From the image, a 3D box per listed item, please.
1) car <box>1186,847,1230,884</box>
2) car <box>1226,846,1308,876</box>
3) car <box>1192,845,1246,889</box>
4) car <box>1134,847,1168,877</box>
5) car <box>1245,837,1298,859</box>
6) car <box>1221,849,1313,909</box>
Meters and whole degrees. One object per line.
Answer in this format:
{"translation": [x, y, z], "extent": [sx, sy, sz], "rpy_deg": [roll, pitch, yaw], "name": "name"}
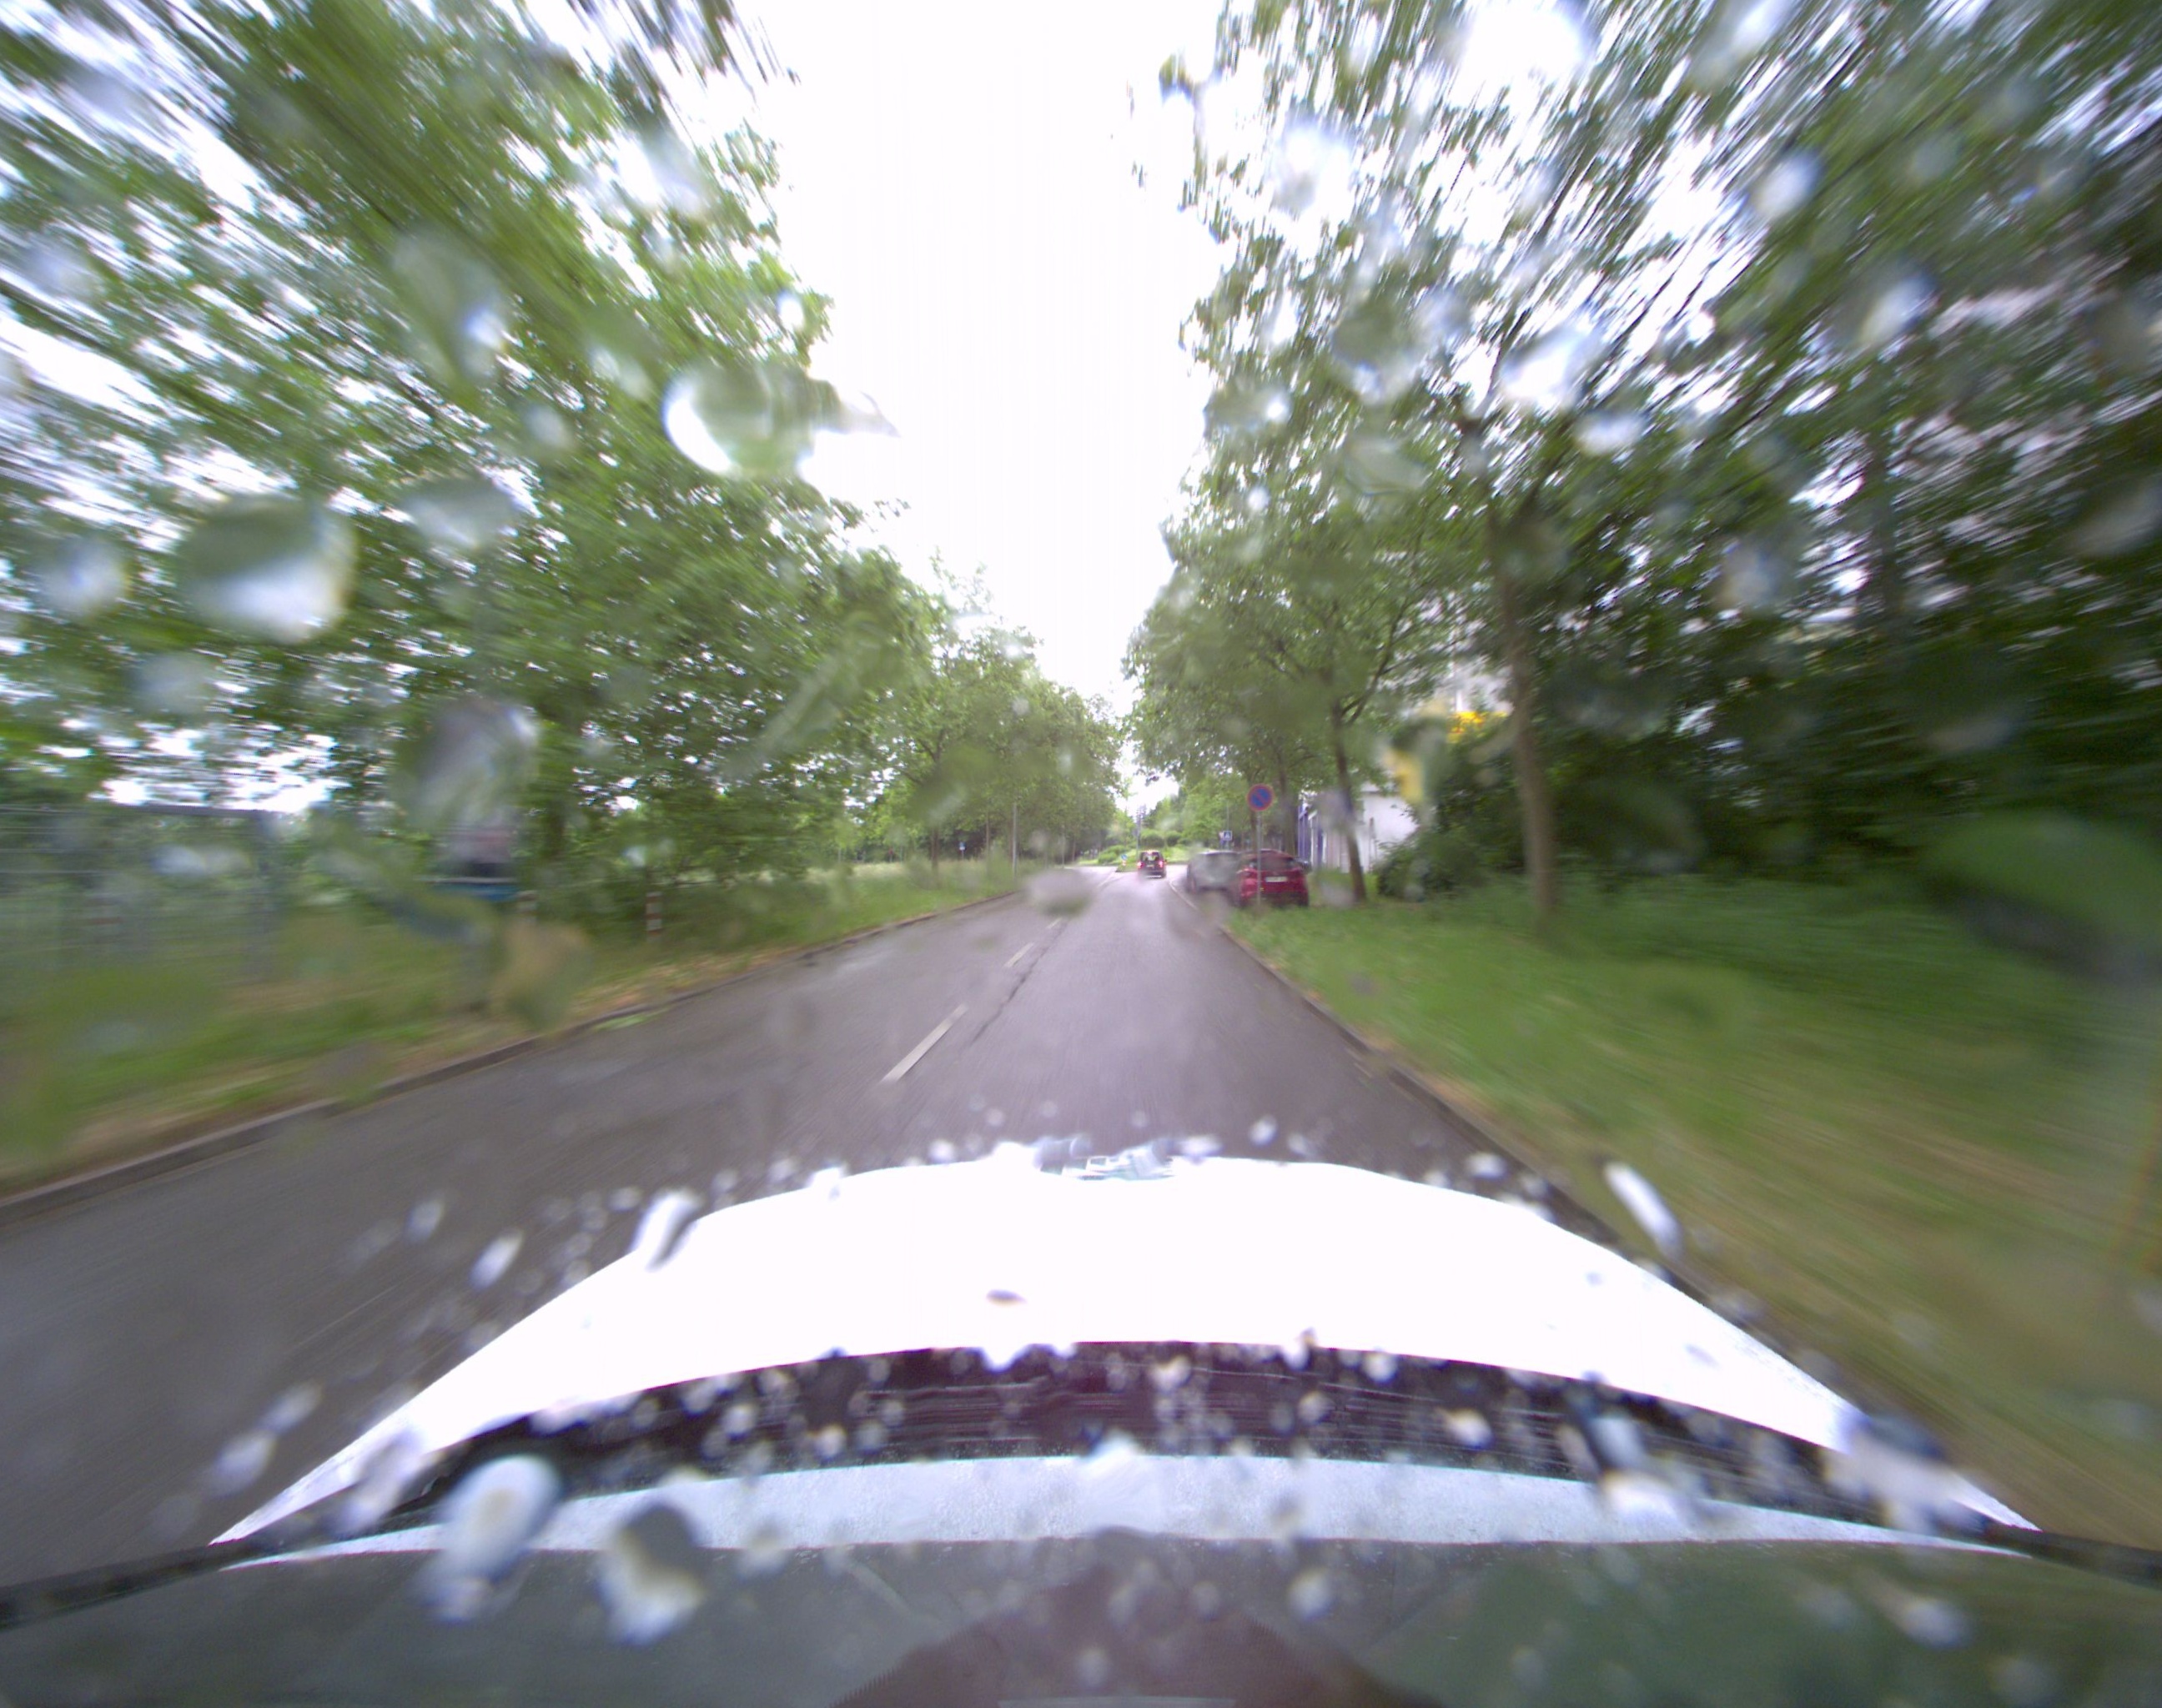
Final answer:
{"translation": [6.017, 0.538, 38.940], "extent": [1.792, 1.602, 4.377], "rpy_deg": [-1, 0, 5], "name": "car"}
{"translation": [10.745, 0.411, 47.304], "extent": [4.448, 1.680, 1.771], "rpy_deg": [0, 1, 6], "name": "car"}
{"translation": [5.452, 0.507, 32.621], "extent": [1.720, 1.591, 4.258], "rpy_deg": [-2, 0, 4], "name": "car"}
{"translation": [4.801, 0.513, 55.176], "extent": [1.907, 1.801, 3.800], "rpy_deg": [-3, 0, 9], "name": "car"}
{"translation": [16.622, -0.531, 71.206], "extent": [4.350, 1.759, 1.835], "rpy_deg": [1, 2, 10], "name": "car"}
{"translation": [4.786, 0.612, 21.420], "extent": [1.789, 1.372, 3.748], "rpy_deg": [-2, 0, 4], "name": "car"}
